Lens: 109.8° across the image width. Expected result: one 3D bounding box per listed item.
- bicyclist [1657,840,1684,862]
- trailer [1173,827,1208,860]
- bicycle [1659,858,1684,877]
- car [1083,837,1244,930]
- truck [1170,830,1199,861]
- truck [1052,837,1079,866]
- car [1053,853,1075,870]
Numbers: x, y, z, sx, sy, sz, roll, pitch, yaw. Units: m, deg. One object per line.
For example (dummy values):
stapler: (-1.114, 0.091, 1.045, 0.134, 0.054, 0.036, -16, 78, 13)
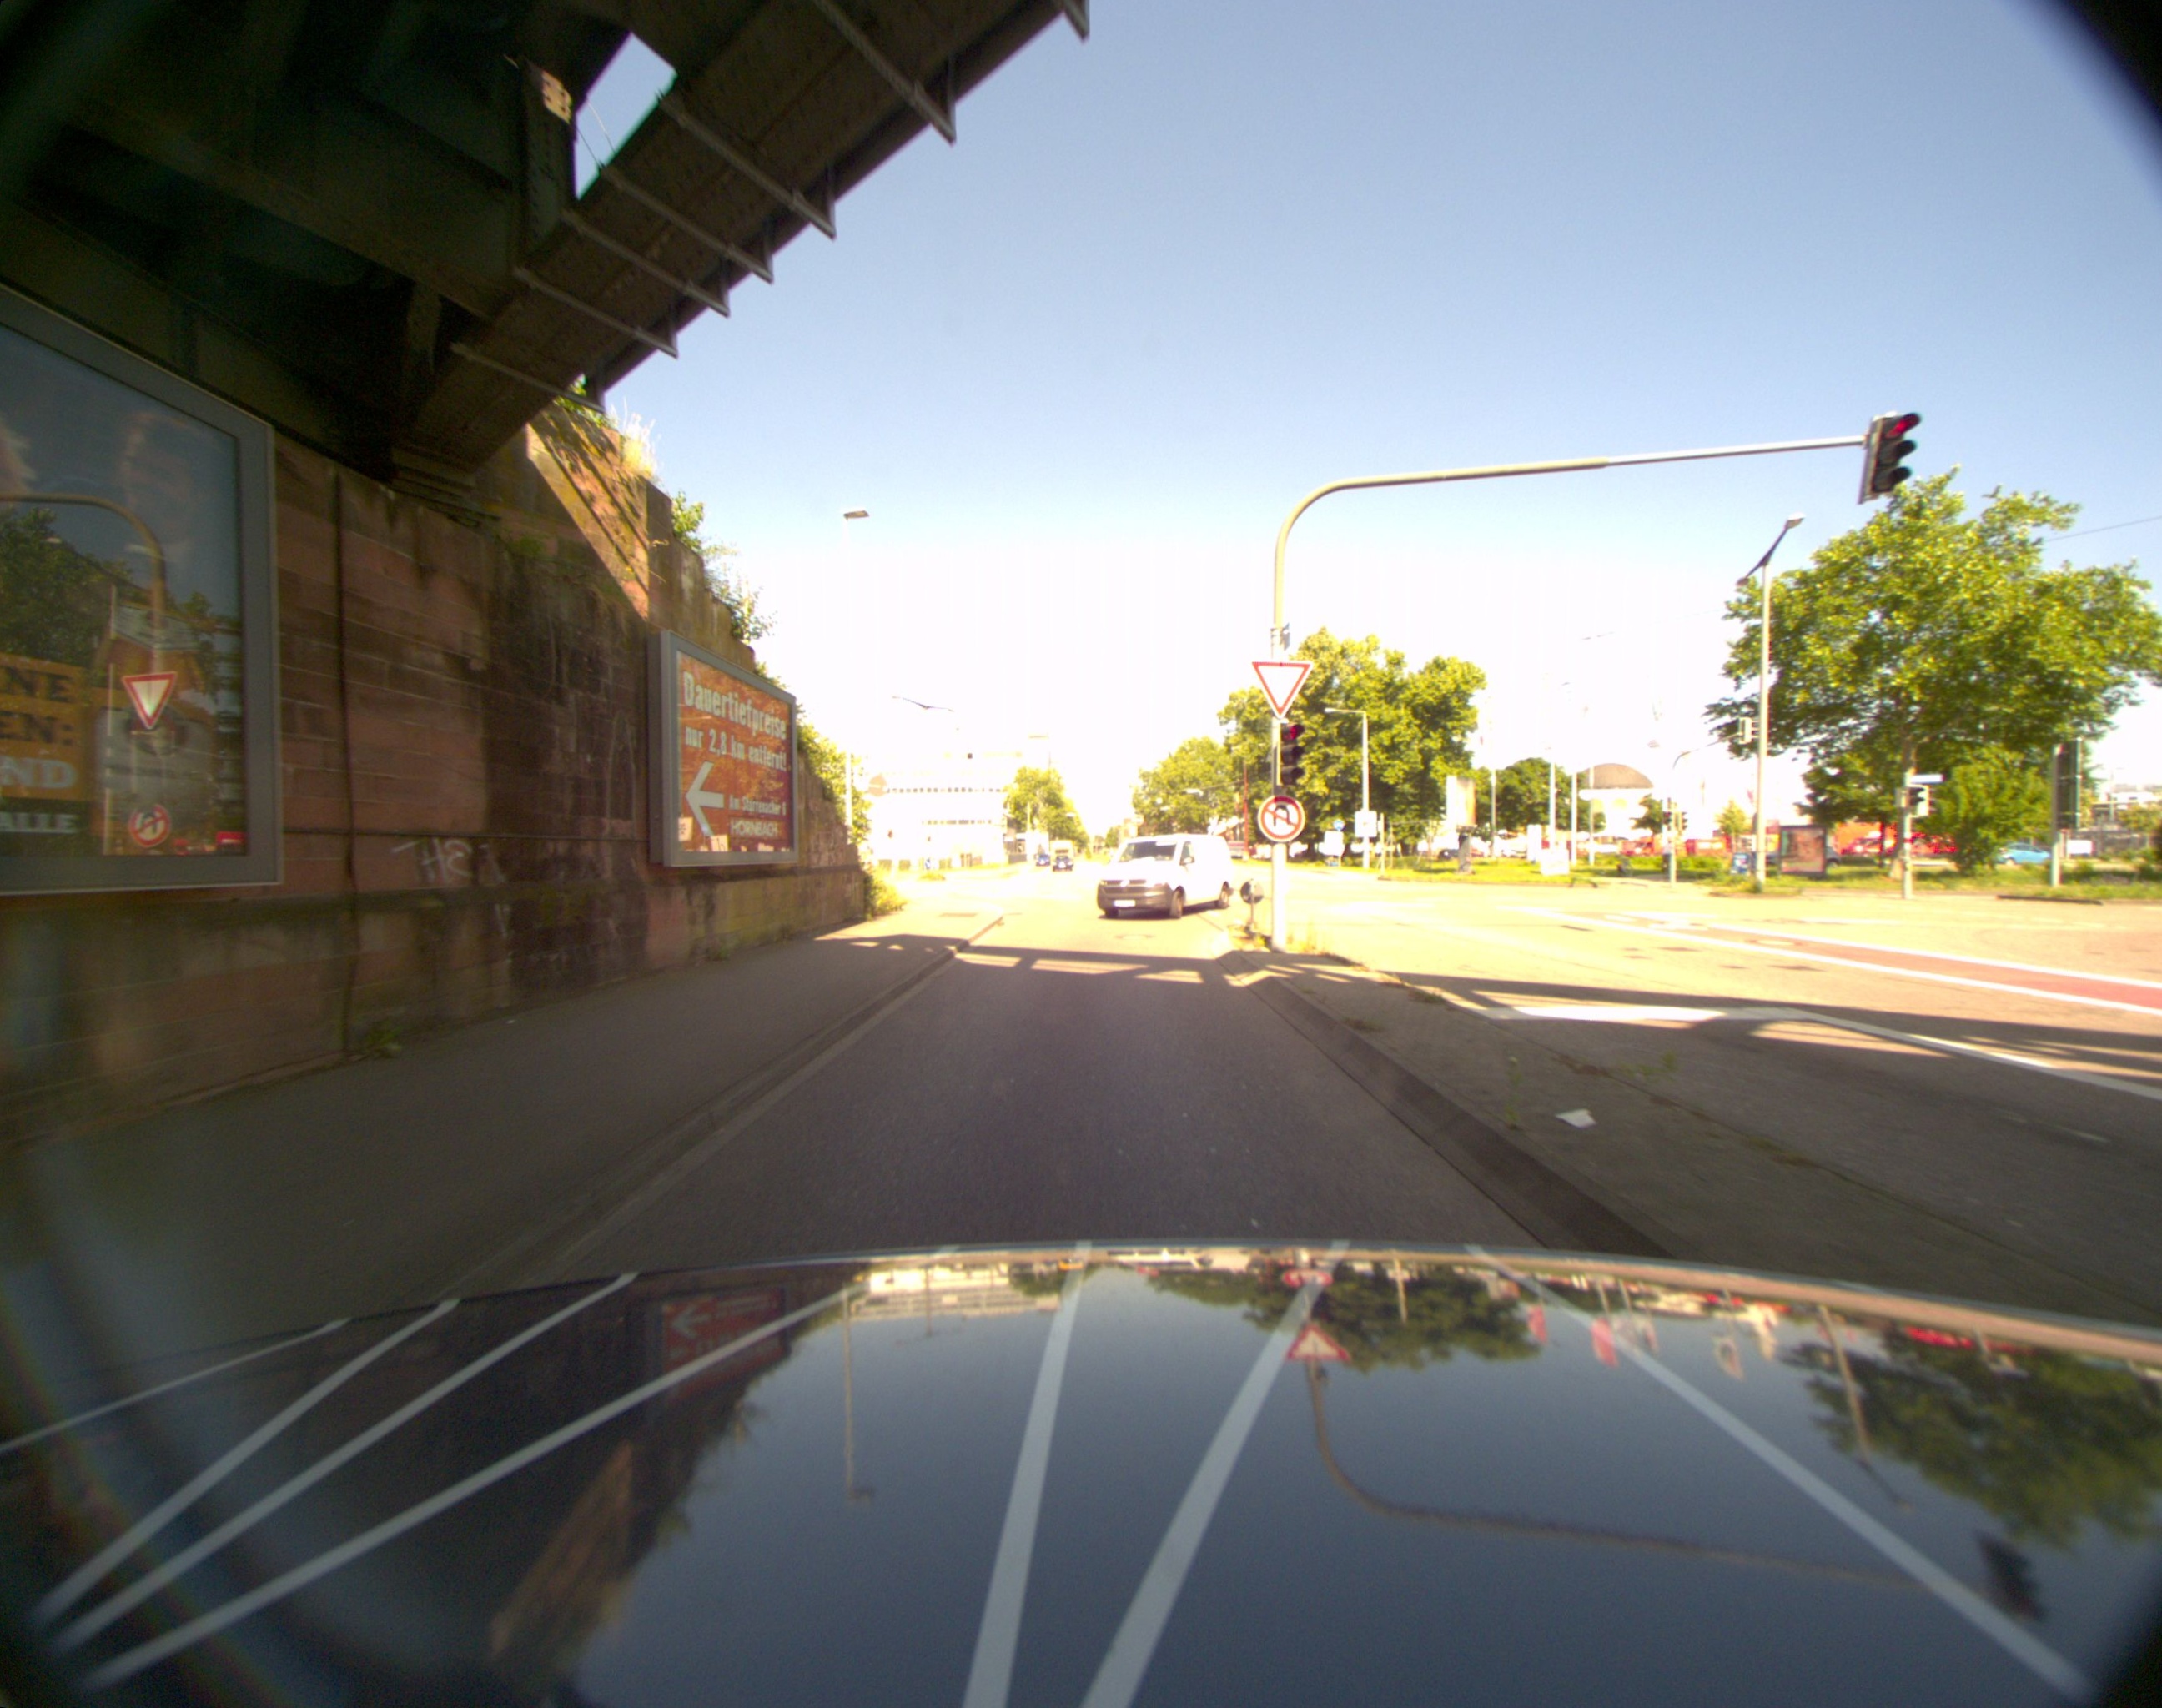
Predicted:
bicyclist: (29.729, -0.136, 38.323, 0.953, 1.078, 0.889, -1, 1, -38)
trailer: (14.018, -1.216, 98.272, 2.939, 3.938, 12.141, -3, 0, 1)
bicycle: (29.794, 0.652, 38.350, 1.880, 0.917, 0.545, -1, 1, -38)
car: (2.208, 0.604, 18.784, 1.882, 1.982, 4.984, 0, 1, 33)
truck: (14.187, -1.128, 104.788, 2.939, 3.966, 8.155, -3, 0, 1)
truck: (-1.670, -0.247, 80.337, 2.410, 2.846, 5.803, -3, 0, -4)
car: (-1.494, 0.643, 65.368, 1.823, 1.346, 3.998, -1, 1, -2)
